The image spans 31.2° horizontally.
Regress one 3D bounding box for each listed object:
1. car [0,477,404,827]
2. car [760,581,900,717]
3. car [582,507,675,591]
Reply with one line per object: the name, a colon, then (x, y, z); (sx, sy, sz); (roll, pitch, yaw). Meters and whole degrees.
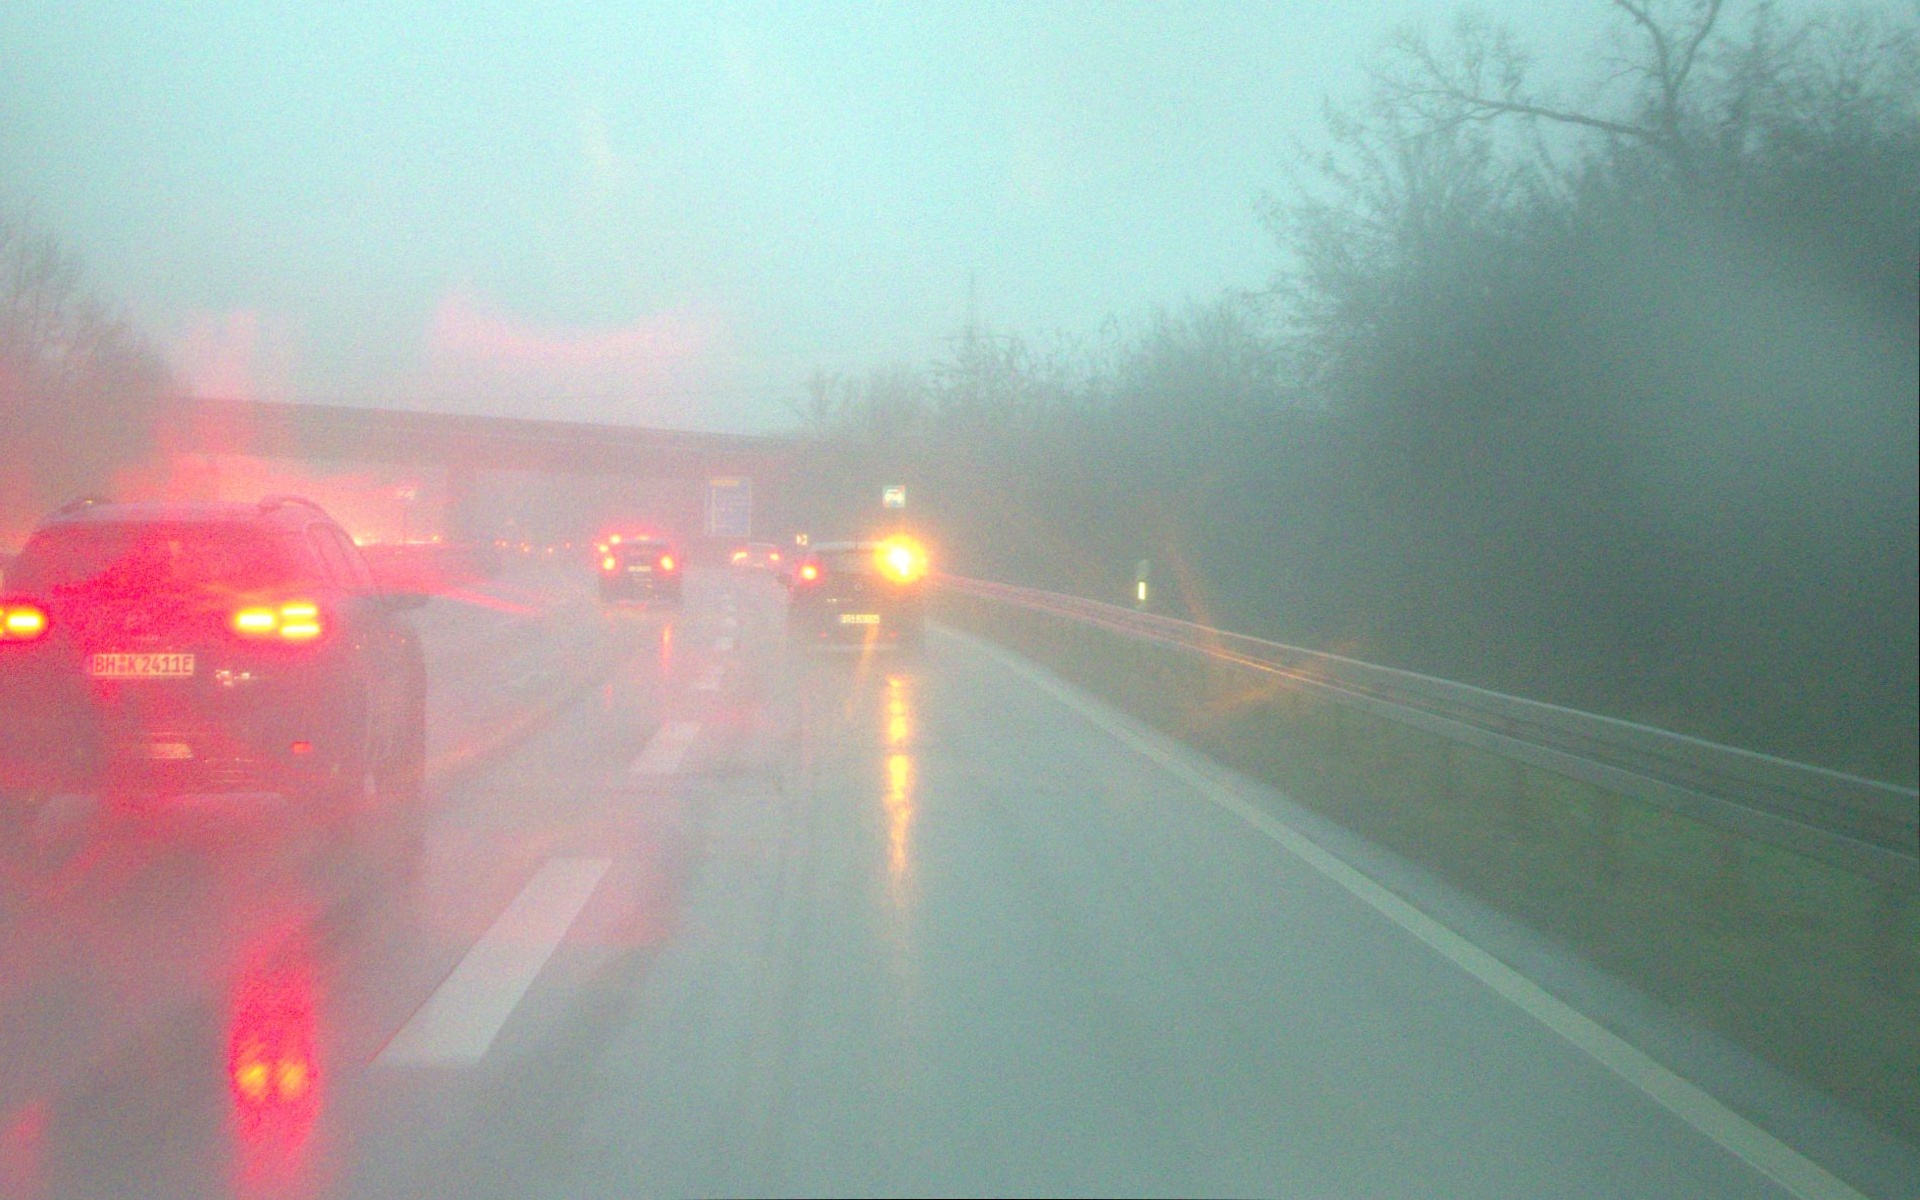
car: (-4.072, 0.210, 18.357); (1.993, 1.659, 4.001); (0, 1, -7)
car: (-1.671, 0.603, 44.525); (1.732, 1.424, 3.766); (0, 4, -2)
car: (-7.104, -1.117, 73.779); (1.878, 1.612, 3.875); (2, 2, -5)
